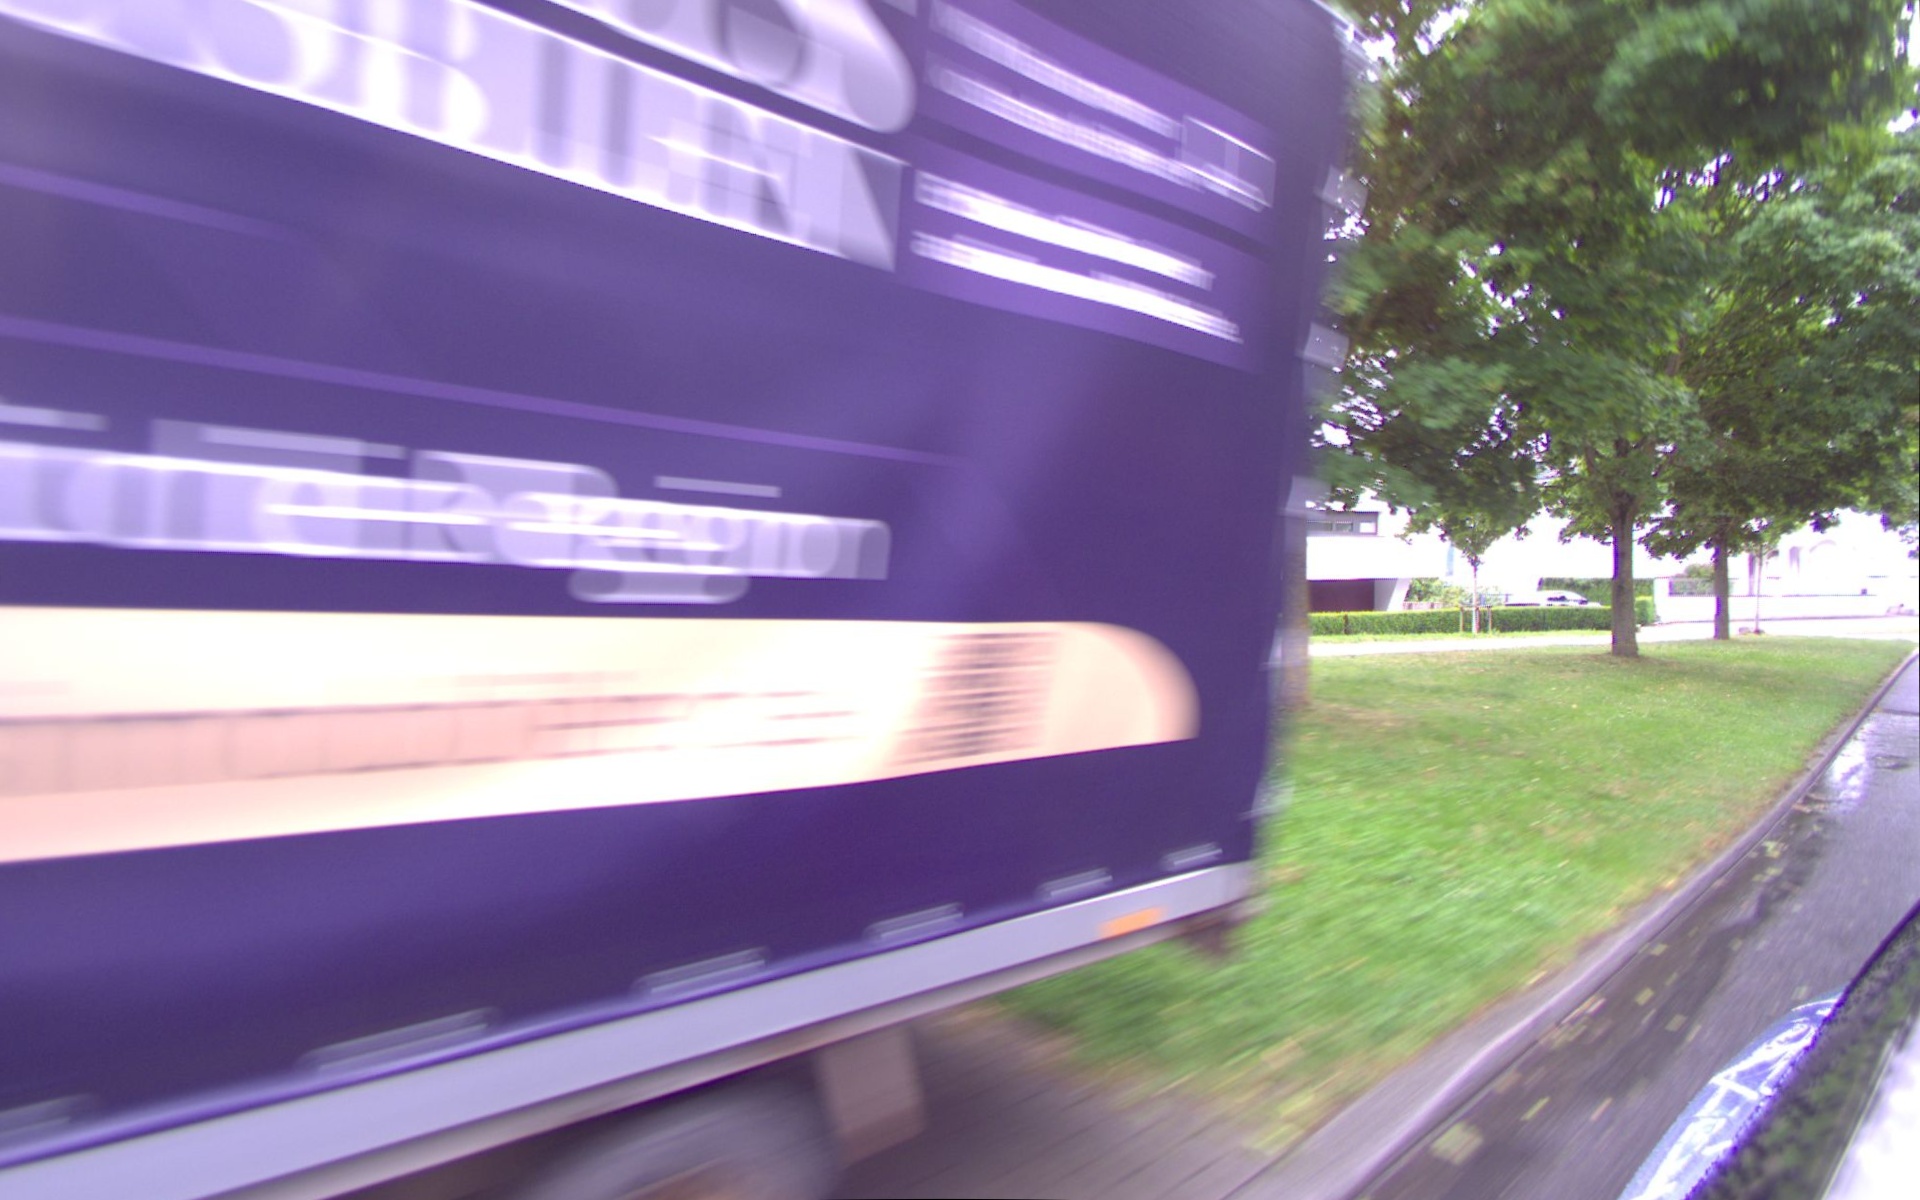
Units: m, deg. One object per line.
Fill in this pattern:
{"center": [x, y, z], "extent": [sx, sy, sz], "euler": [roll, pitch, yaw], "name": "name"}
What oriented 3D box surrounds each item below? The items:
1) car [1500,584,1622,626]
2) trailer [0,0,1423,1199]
{"center": [24.566, 0.177, 41.369], "extent": [4.366, 1.570, 1.931], "euler": [-1, 0, -20], "name": "car"}
{"center": [-1.723, -0.163, 1.512], "extent": [5.508, 2.840, 2.000], "euler": [0, 6, -40], "name": "trailer"}
